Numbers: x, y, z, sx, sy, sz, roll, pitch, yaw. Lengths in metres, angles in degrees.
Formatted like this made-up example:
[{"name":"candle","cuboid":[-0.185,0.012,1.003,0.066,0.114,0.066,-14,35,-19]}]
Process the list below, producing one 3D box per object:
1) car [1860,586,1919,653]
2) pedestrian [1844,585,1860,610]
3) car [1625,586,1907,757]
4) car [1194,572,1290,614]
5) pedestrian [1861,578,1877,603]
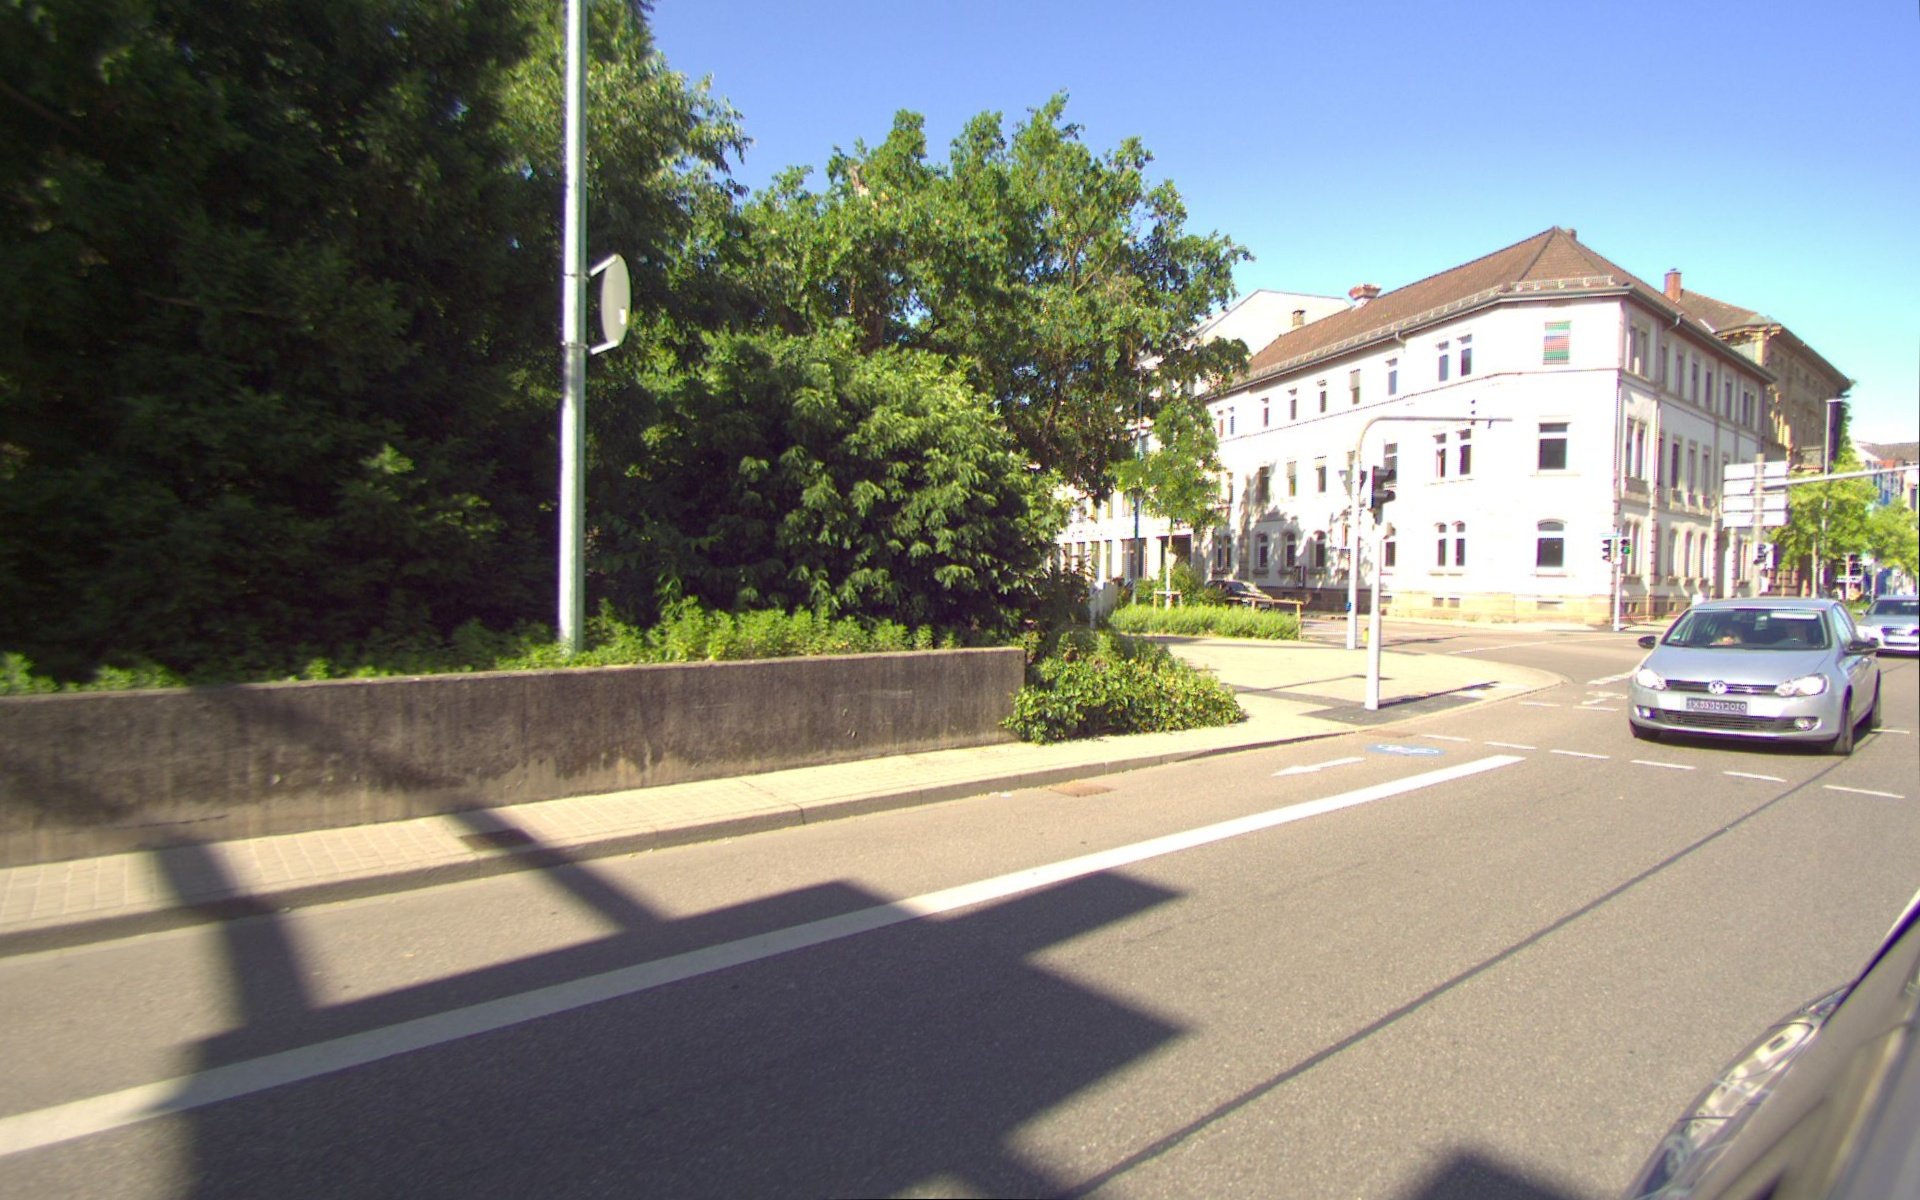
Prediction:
[{"name":"car","cuboid":[22.275,0.396,23.311,3.930,1.442,1.837,-1,1,-41]},{"name":"pedestrian","cuboid":[56.695,-0.177,64.346,0.891,1.581,0.668,0,0,-42]},{"name":"car","cuboid":[8.740,0.605,10.859,3.930,1.493,1.701,-1,1,-41]},{"name":"car","cuboid":[11.178,-0.287,40.383,1.696,1.501,4.009,3,0,-17]},{"name":"pedestrian","cuboid":[57.210,-0.593,63.704,0.891,1.581,0.668,0,0,-42]}]
